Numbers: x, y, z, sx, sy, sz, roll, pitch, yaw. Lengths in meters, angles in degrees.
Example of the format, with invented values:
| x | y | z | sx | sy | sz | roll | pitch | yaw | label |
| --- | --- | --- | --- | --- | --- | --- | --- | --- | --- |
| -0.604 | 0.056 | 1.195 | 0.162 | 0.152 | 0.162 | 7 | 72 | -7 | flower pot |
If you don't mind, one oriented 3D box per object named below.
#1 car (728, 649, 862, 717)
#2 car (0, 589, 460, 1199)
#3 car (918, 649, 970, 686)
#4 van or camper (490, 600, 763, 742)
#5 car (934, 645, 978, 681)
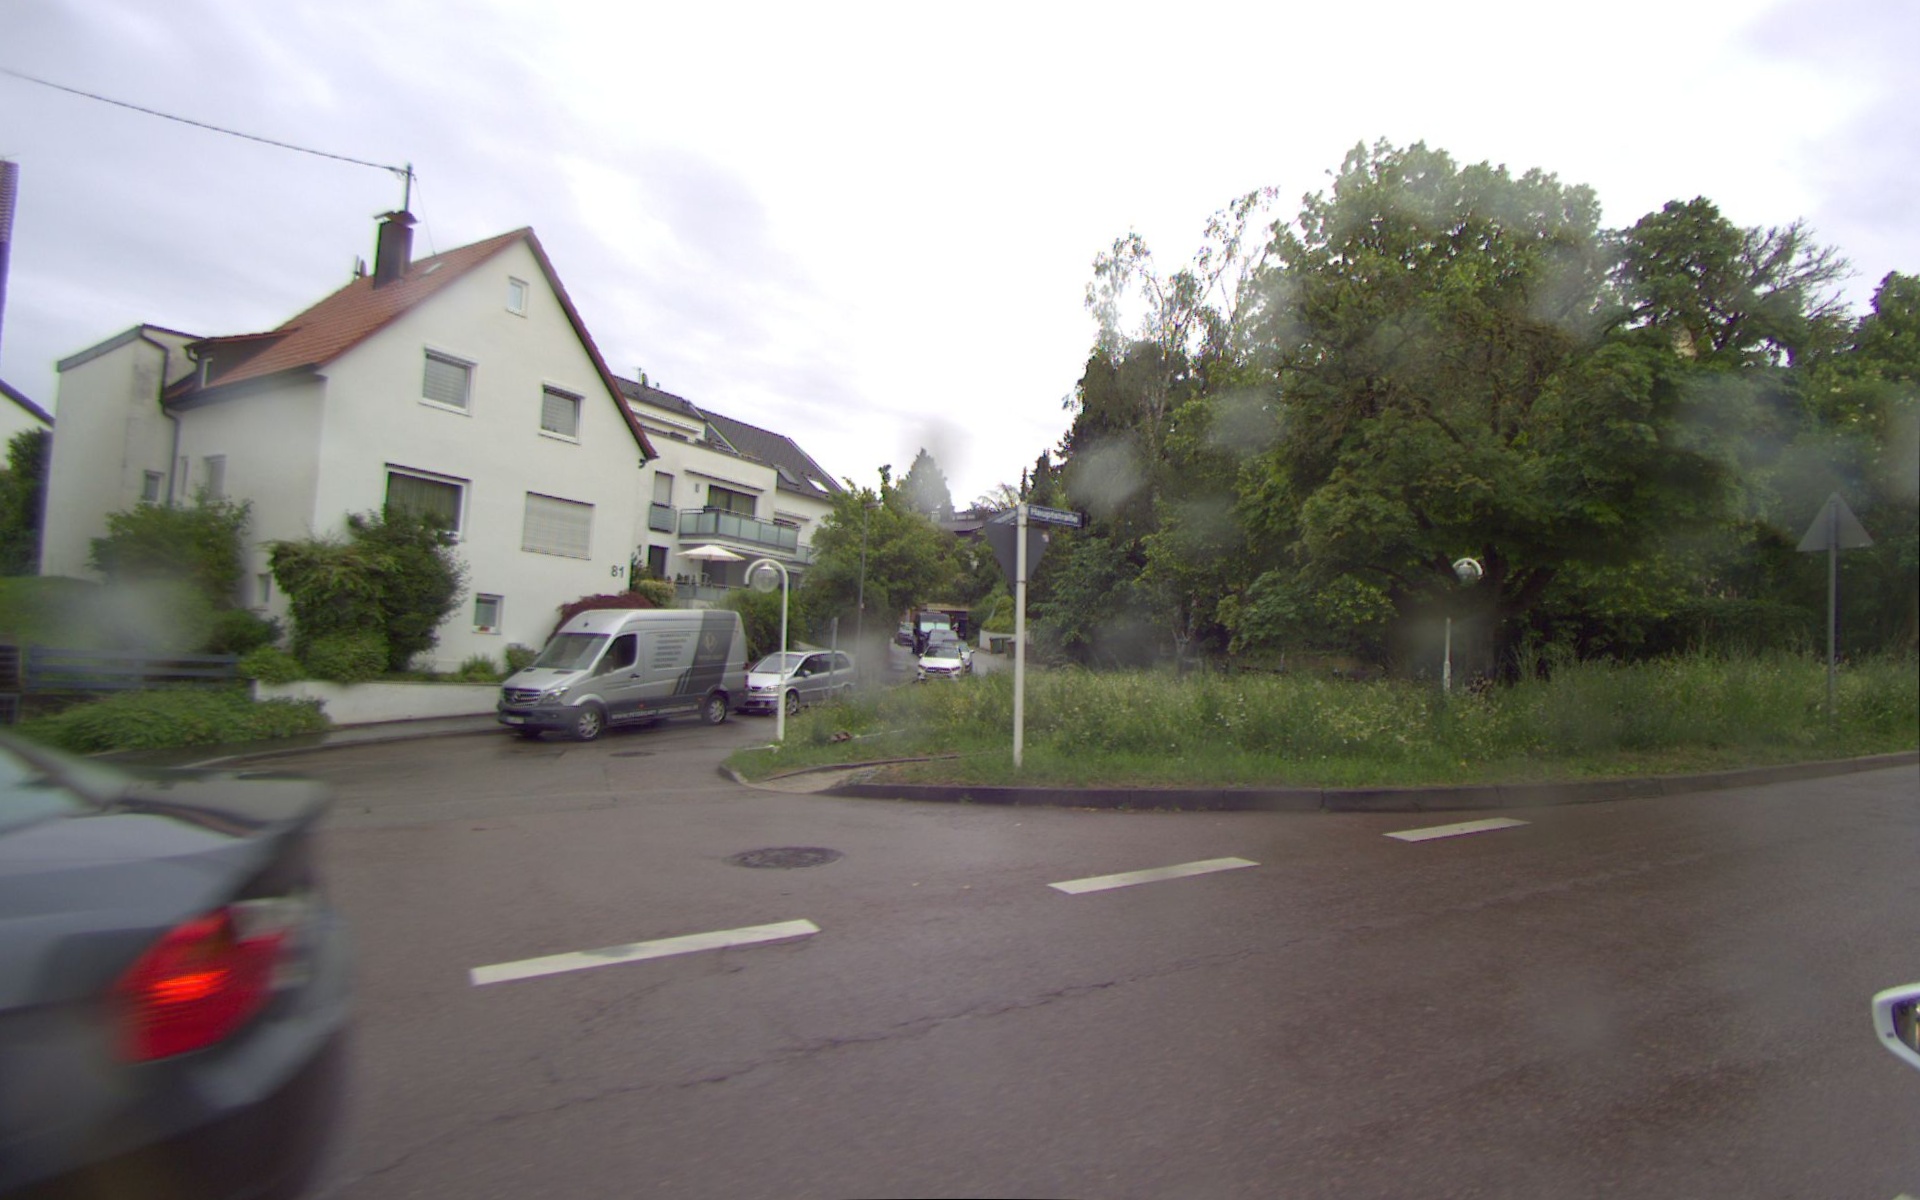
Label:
| x | y | z | sx | sy | sz | roll | pitch | yaw | label |
| --- | --- | --- | --- | --- | --- | --- | --- | --- | --- |
| -4.348 | 2.166 | 27.074 | 1.531 | 1.569 | 4.036 | 1 | -1 | 25 | car |
| -2.976 | 0.678 | 1.339 | 4.036 | 1.473 | 1.553 | 2 | -1 | -30 | car |
| -0.596 | 2.708 | 40.605 | 1.687 | 1.270 | 3.977 | 1 | -1 | 5 | car |
| -6.940 | 1.413 | 21.822 | 1.611 | 2.591 | 6.056 | 3 | 0 | 29 | van or camper |
| -0.159 | 2.874 | 46.496 | 1.875 | 1.408 | 4.001 | 1 | -1 | 1 | car |
